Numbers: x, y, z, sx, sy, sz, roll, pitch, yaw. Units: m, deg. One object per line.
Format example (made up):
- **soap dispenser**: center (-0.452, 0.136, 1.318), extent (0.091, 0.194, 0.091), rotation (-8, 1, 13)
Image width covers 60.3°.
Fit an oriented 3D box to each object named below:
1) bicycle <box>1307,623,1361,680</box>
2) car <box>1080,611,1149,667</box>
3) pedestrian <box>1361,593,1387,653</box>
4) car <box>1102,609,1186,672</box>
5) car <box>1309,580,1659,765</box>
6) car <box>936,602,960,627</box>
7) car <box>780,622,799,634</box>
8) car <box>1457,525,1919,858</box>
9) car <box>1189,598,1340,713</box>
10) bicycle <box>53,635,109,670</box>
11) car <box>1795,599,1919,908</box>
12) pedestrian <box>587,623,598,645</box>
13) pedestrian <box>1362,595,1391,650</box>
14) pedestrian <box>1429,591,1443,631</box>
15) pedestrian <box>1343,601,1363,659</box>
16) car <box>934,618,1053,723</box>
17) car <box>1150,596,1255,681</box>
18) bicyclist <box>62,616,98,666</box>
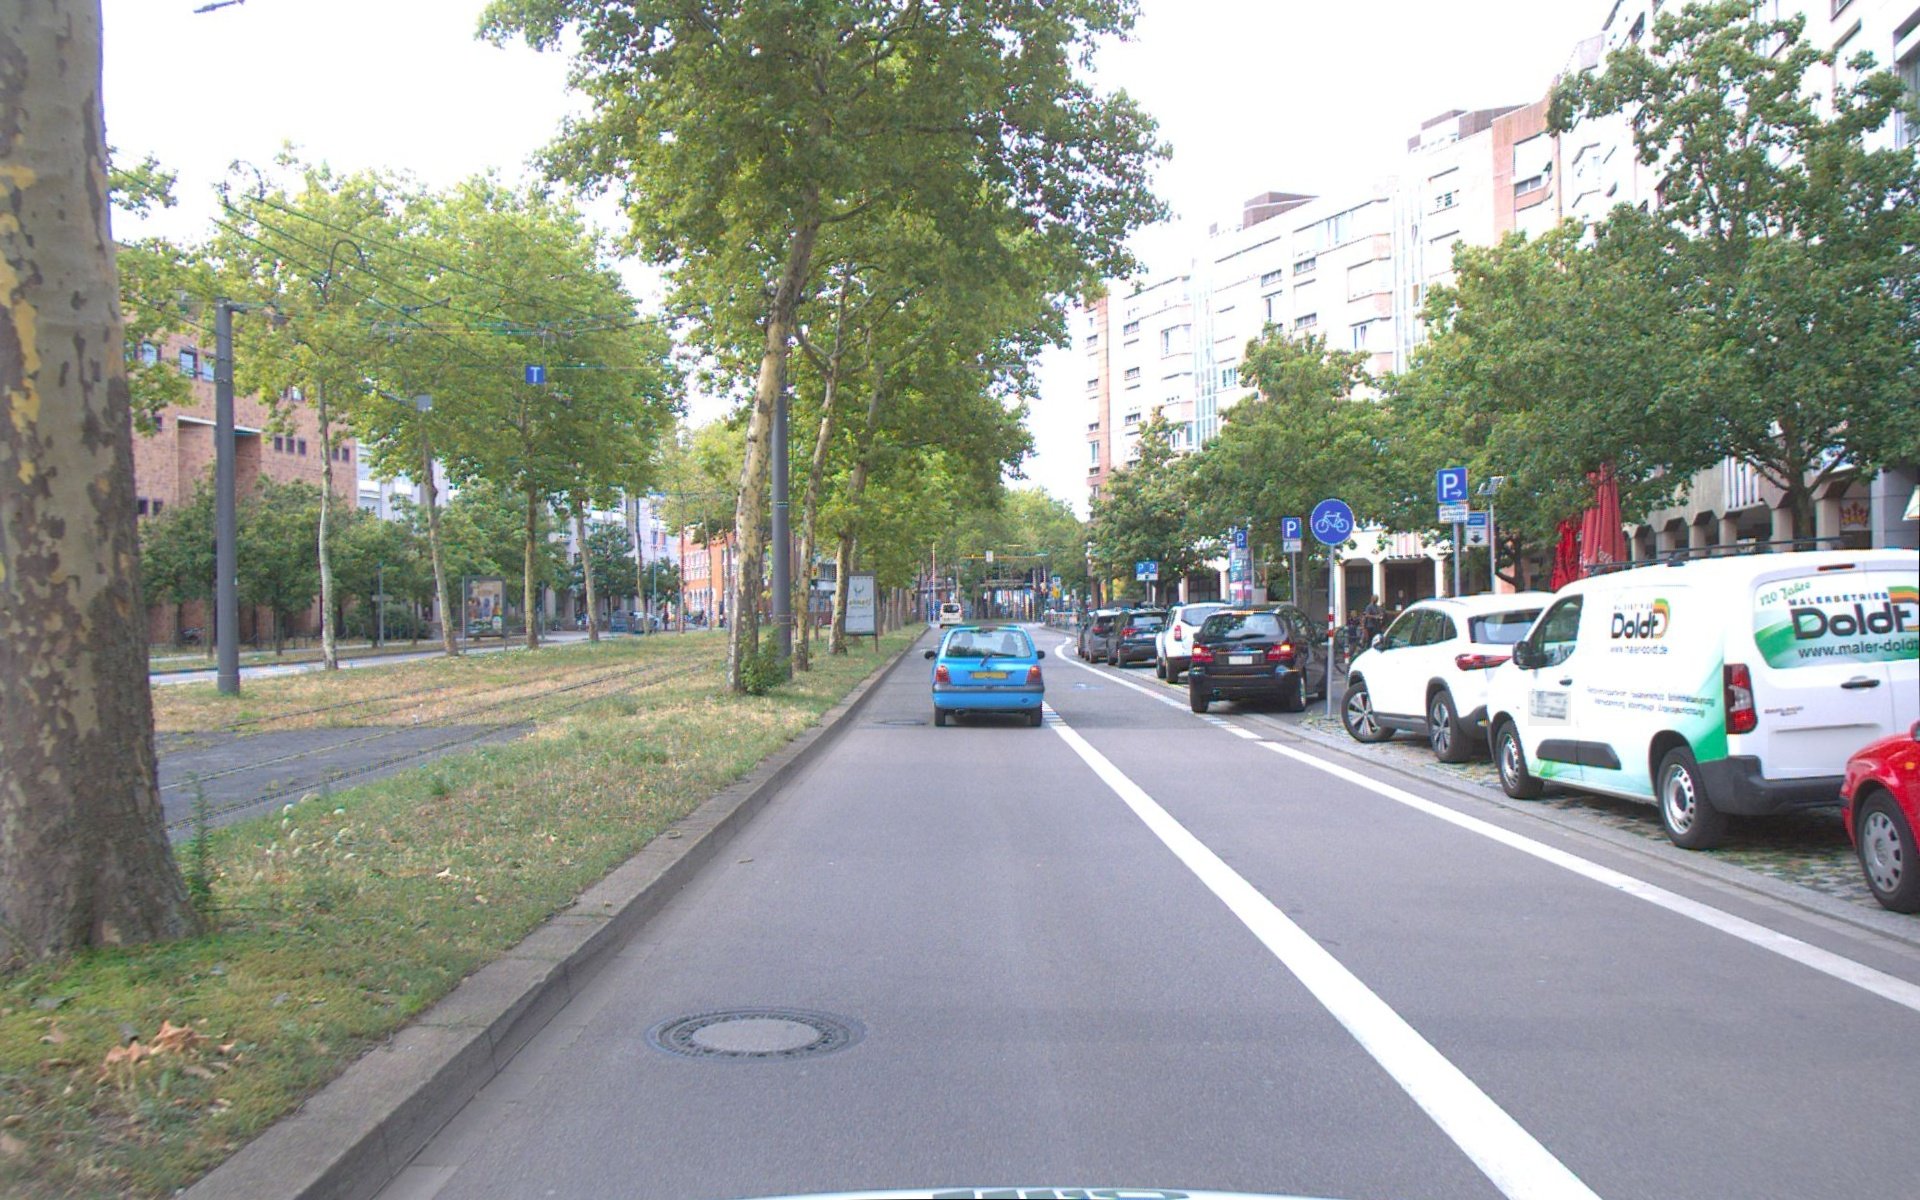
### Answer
- **bicycle**: center (7.227, 0.978, 32.000), extent (0.593, 1.047, 1.865), rotation (-1, 0, 0)
- **car**: center (4.649, 1.154, 50.330), extent (1.704, 1.545, 4.401), rotation (-2, 0, 1)
- **pedestrian**: center (11.086, 0.612, 44.316), extent (0.507, 1.597, 0.478), rotation (-2, -1, 35)
- **car**: center (4.973, 1.077, 45.191), extent (1.680, 1.545, 4.203), rotation (-3, 0, -1)
- **car**: center (5.514, 0.707, 18.131), extent (1.956, 1.630, 4.578), rotation (-4, 0, -5)
- **car**: center (-0.935, 1.171, 134.849), extent (1.892, 1.959, 4.955), rotation (-1, 0, 0)
- **car**: center (-19.066, 3.099, 185.271), extent (1.694, 1.267, 4.533), rotation (-1, -1, -1)
- **car**: center (5.367, 0.533, 12.099), extent (1.790, 1.897, 4.645), rotation (-3, 0, -3)
- **car**: center (4.991, 0.836, 26.647), extent (1.738, 1.604, 4.306), rotation (-3, -1, 18)
- **bicycle**: center (-29.403, 1.732, 55.358), extent (0.654, 1.103, 2.094), rotation (-1, 0, 3)
- **car**: center (5.378, 0.703, 7.003), extent (1.686, 1.457, 4.255), rotation (-4, 0, 4)
- **pedestrian**: center (-29.430, 2.684, 132.488), extent (0.541, 1.735, 0.885), rotation (-1, -1, 4)
- **pedestrian**: center (12.409, 0.662, 49.284), extent (0.729, 1.597, 0.764), rotation (-1, -1, 9)
- **pedestrian**: center (20.678, 0.477, 71.872), extent (0.521, 1.692, 0.851), rotation (-1, -1, 12)
- **pedestrian**: center (10.366, 0.782, 43.621), extent (0.402, 1.505, 0.504), rotation (-1, -1, 6)
- **car**: center (0.471, 0.974, 24.403), extent (1.607, 1.410, 3.843), rotation (0, -1, 0)
- **car**: center (5.233, 0.809, 36.103), extent (1.822, 1.682, 4.165), rotation (-2, 0, 3)
- **bicyclist**: center (-29.416, 1.363, 55.298), extent (0.650, 1.618, 0.984), rotation (-1, -1, 3)
